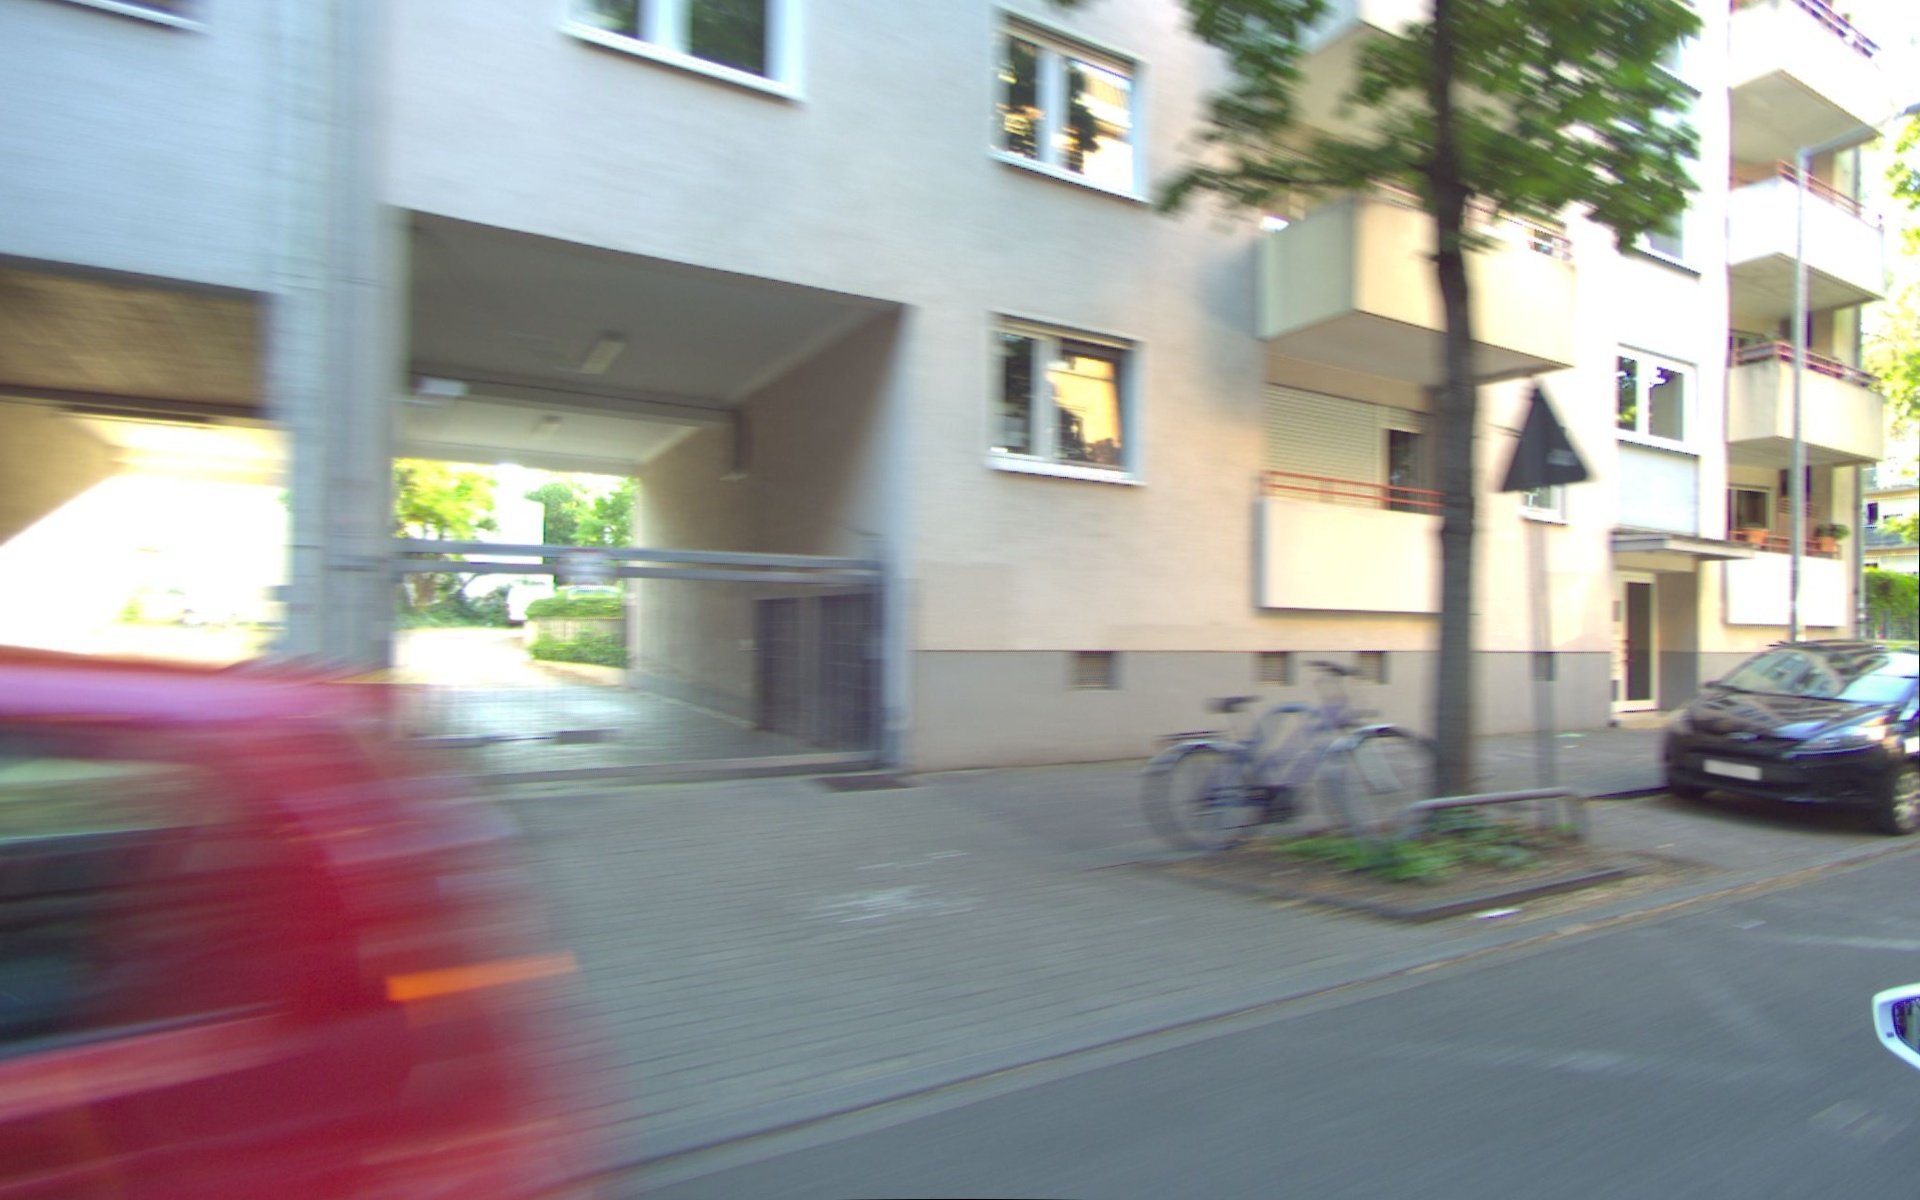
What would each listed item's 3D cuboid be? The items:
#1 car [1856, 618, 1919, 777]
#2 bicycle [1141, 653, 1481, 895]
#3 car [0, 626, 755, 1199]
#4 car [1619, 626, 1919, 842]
[{"bbox_3d":[12.077,1.092,11.221,4.107,1.659,1.888,2,0,-30],"label":"car"},{"bbox_3d":[2.027,0.972,5.981,1.792,1.211,0.605,2,1,16],"label":"bicycle"},{"bbox_3d":[-2.217,0.749,1.279,3.502,1.449,1.622,2,-2,-31],"label":"car"},{"bbox_3d":[7.893,1.038,8.916,3.789,1.504,1.734,2,0,-26],"label":"car"}]
